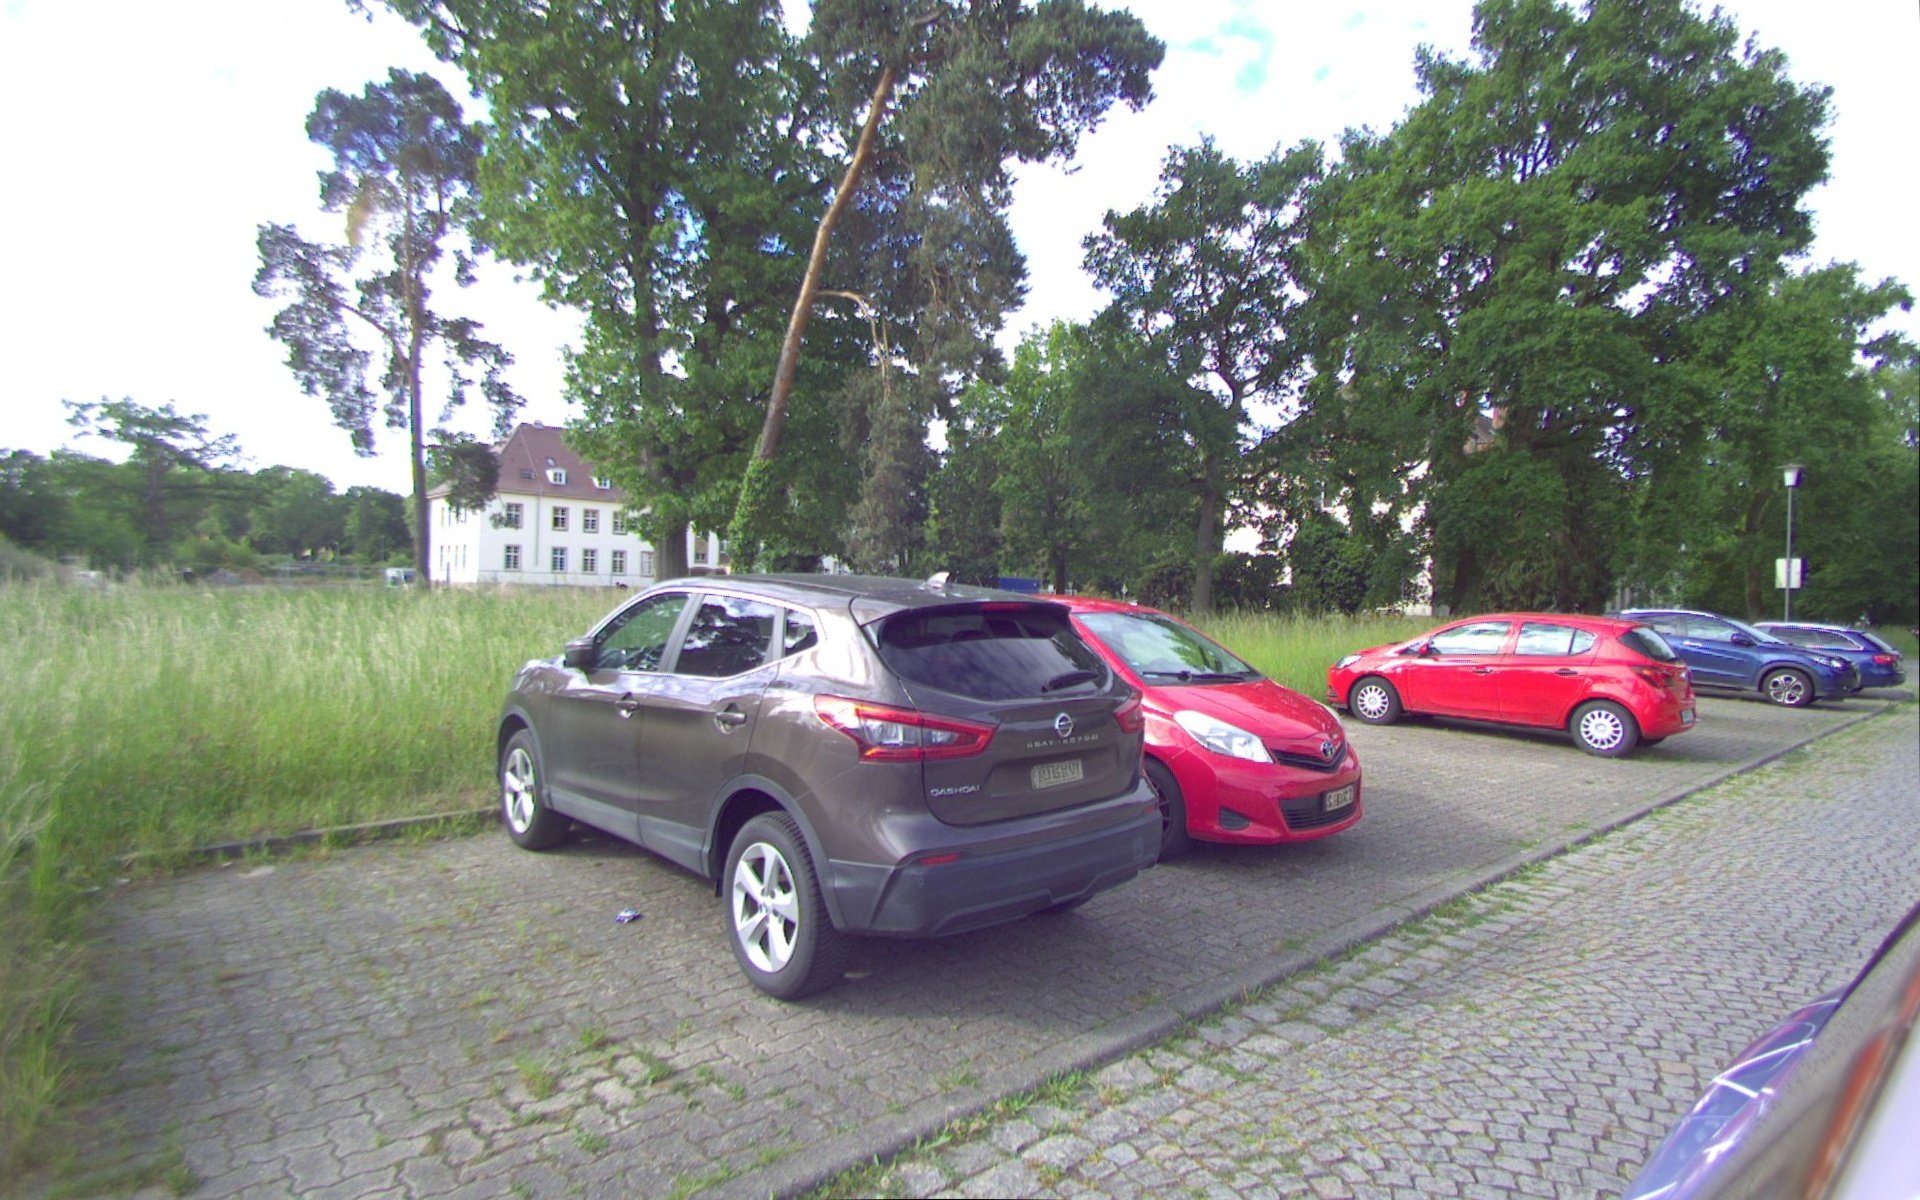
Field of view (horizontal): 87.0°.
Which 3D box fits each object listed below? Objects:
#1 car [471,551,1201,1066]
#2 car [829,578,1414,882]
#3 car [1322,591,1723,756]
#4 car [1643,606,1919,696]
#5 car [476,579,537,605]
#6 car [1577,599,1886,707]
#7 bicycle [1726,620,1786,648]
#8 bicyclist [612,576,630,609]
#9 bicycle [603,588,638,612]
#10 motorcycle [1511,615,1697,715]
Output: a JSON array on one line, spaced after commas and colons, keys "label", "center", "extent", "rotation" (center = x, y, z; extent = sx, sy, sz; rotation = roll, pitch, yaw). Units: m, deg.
[{"label": "car", "center": [-0.944, 0.619, 5.202], "extent": [1.732, 1.600, 3.955], "rotation": [1, 0, -43]}, {"label": "car", "center": [0.895, 0.650, 7.304], "extent": [1.708, 1.537, 3.994], "rotation": [1, 0, -41]}, {"label": "car", "center": [6.587, 0.741, 12.159], "extent": [1.708, 1.524, 3.845], "rotation": [2, 1, -42]}, {"label": "car", "center": [17.749, 1.018, 21.909], "extent": [1.860, 1.483, 4.518], "rotation": [2, 2, -38]}, {"label": "car", "center": [-37.605, -0.645, 83.829], "extent": [5.811, 2.039, 2.450], "rotation": [0, 0, 41]}, {"label": "car", "center": [14.203, 0.884, 18.833], "extent": [1.862, 1.593, 4.271], "rotation": [2, 1, -41]}, {"label": "bicycle", "center": [35.039, 1.489, 44.570], "extent": [1.999, 1.101, 0.474], "rotation": [2, 3, 27]}, {"label": "bicyclist", "center": [-20.782, -0.448, 61.996], "extent": [0.833, 2.039, 0.658], "rotation": [1, -1, -41]}, {"label": "bicycle", "center": [-20.804, -0.001, 61.990], "extent": [1.900, 1.498, 0.654], "rotation": [0, 0, -41]}, {"label": "motorcycle", "center": [9.612, 0.924, 15.185], "extent": [2.265, 1.291, 0.596], "rotation": [3, 1, 44]}]
